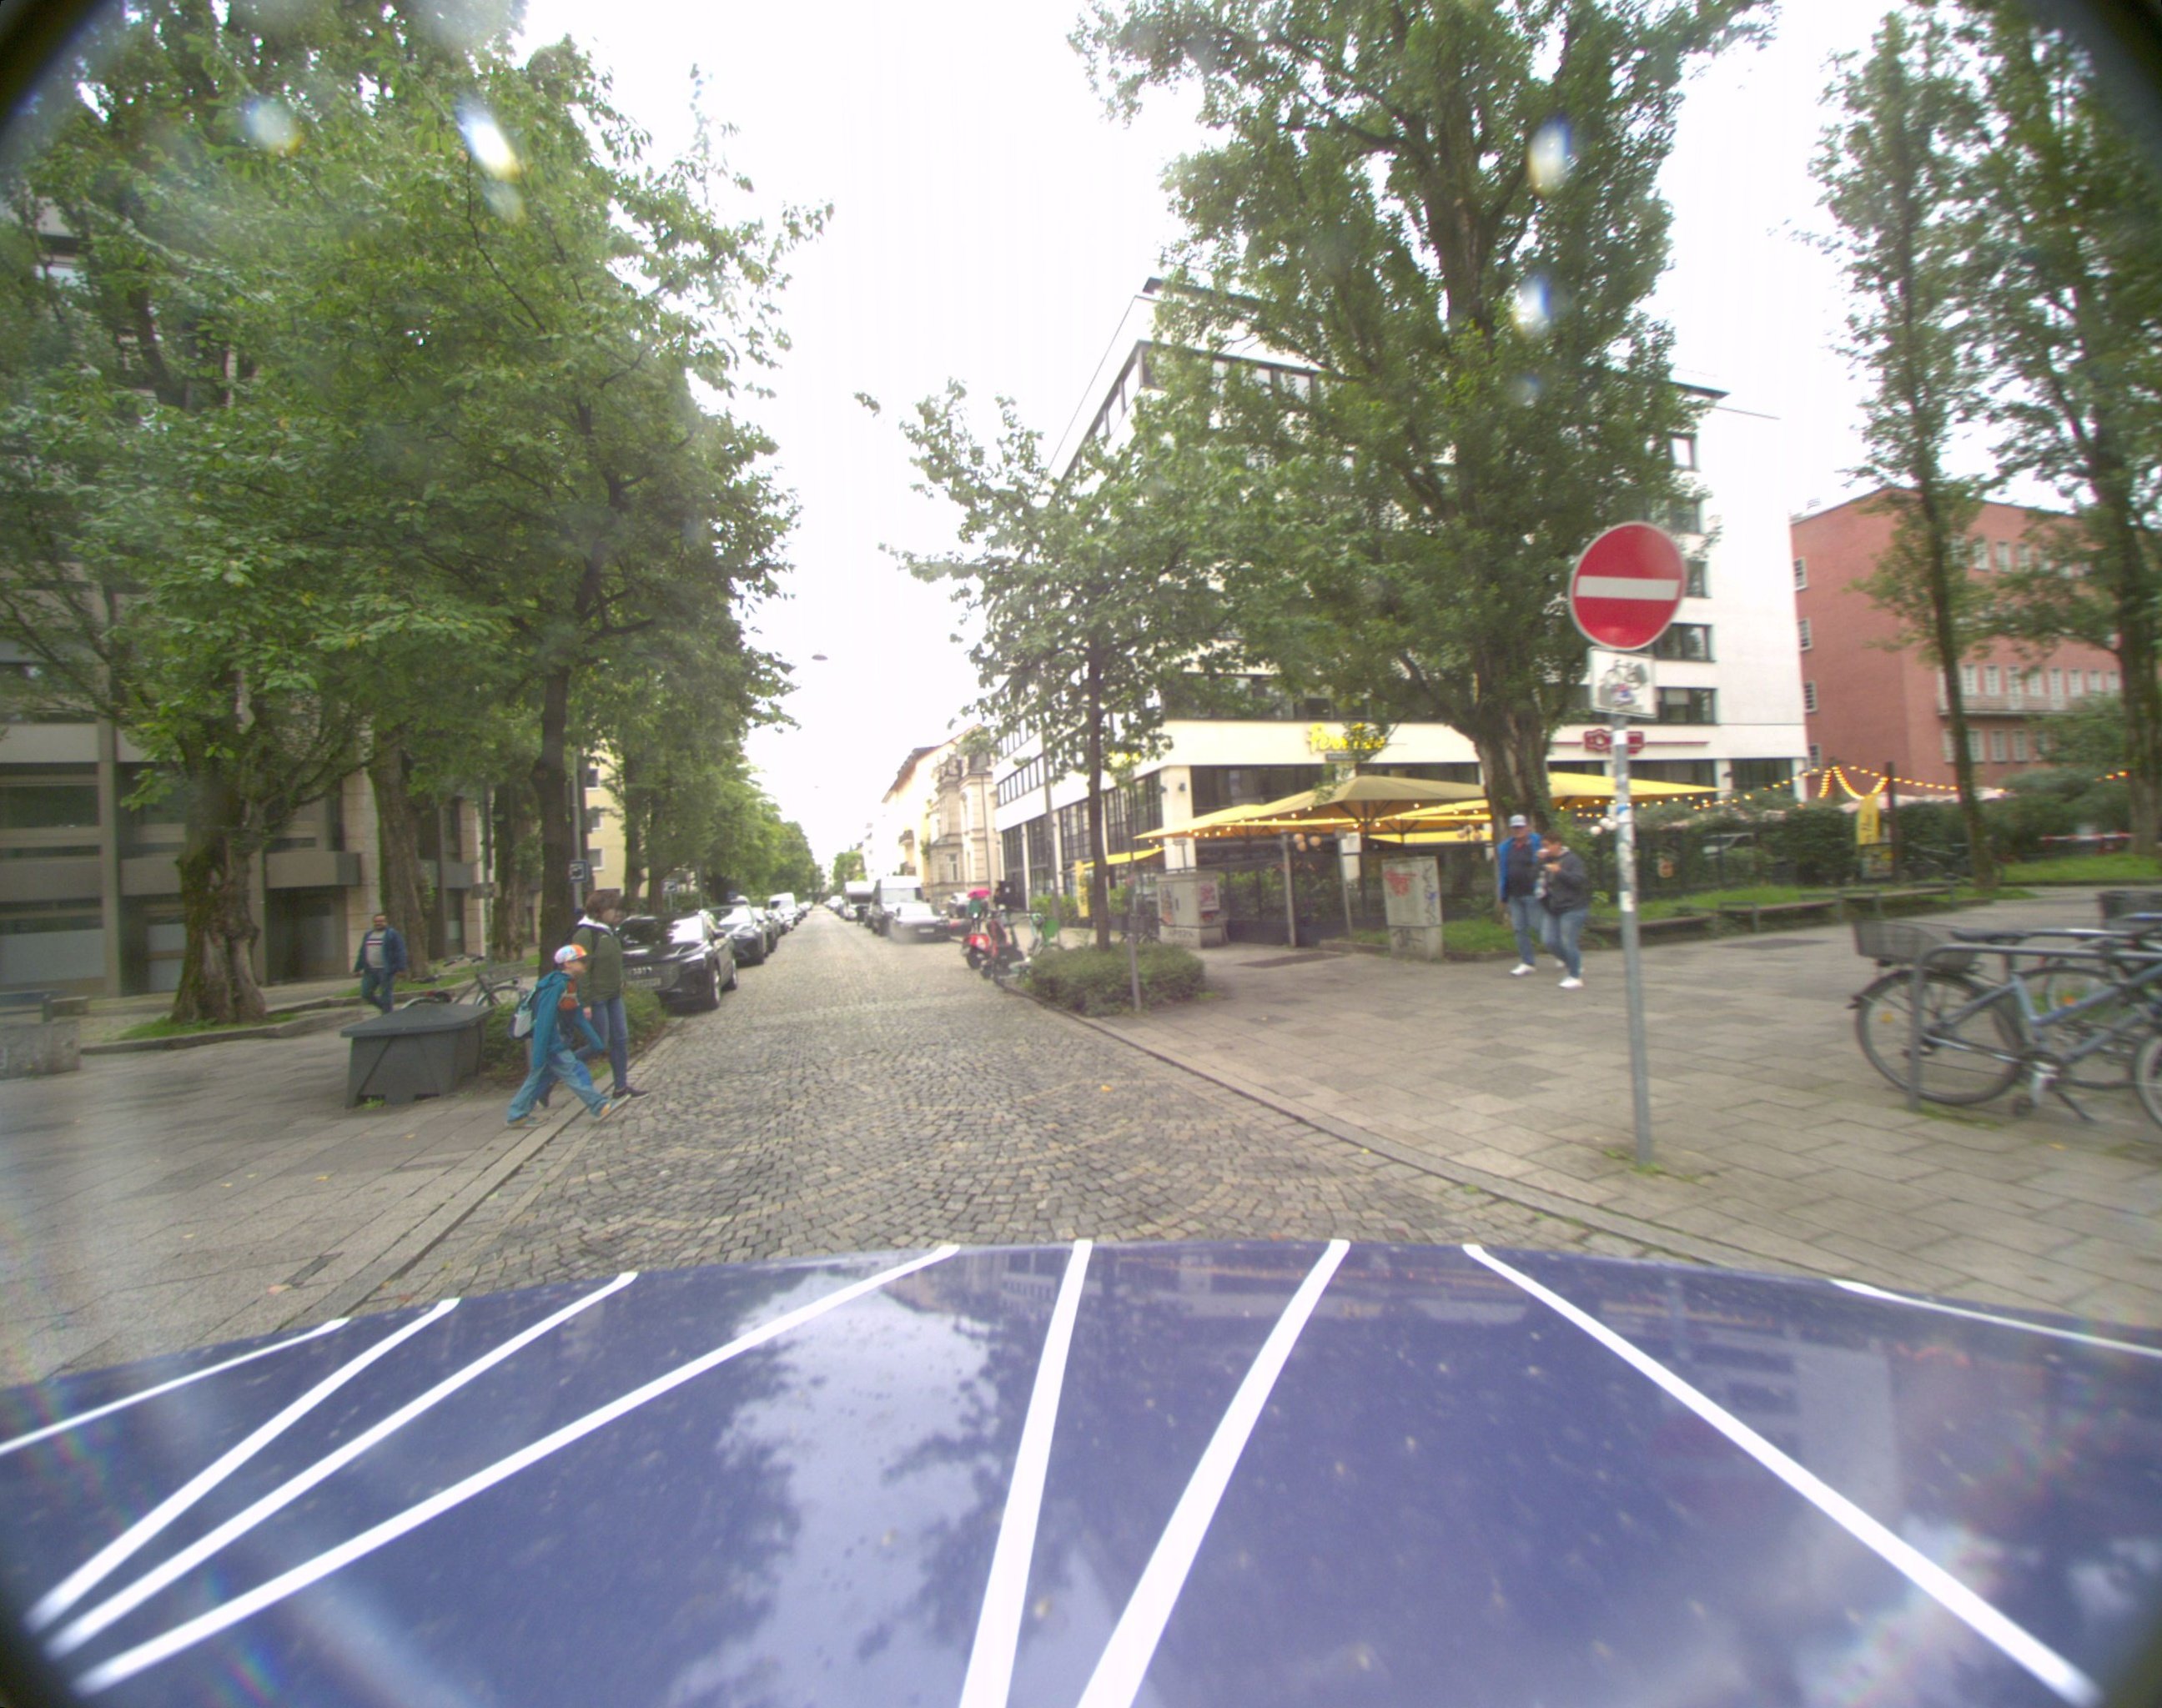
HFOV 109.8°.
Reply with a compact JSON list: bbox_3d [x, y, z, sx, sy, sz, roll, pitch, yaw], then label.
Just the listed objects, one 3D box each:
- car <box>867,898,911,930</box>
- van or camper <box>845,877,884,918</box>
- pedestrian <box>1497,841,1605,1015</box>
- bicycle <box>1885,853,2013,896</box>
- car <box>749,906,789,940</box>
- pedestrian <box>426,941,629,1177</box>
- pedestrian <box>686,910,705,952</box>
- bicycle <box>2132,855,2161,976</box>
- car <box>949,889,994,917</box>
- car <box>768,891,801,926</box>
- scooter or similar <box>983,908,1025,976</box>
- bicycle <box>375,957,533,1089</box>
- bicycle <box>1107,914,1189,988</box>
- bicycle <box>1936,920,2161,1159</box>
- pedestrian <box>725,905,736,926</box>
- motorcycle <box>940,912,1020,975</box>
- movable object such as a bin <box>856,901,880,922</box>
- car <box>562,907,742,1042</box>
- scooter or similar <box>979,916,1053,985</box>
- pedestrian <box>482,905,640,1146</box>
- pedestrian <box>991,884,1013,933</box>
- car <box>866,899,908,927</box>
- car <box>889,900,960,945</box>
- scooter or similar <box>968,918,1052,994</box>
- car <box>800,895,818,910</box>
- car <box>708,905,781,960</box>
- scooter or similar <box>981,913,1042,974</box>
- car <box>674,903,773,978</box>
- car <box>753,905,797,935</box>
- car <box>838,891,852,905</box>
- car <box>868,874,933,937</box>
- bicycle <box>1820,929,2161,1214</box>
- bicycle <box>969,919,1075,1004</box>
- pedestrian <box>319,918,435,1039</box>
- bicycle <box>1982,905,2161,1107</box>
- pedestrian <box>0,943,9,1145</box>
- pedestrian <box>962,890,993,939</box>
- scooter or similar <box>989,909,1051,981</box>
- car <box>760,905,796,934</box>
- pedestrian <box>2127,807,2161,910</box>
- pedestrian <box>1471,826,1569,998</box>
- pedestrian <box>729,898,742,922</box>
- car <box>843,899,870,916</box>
[{"bbox_3d":[-10.145,3.103,39.976,2.001,1.421,3.996,-3,-2,-16],"label":"car"},{"bbox_3d":[-17.927,3.539,62.613,2.467,3.028,7.309,-3,-2,-20],"label":"van or camper"},{"bbox_3d":[4.944,0.749,8.001,0.646,1.717,0.702,-3,-2,-42],"label":"pedestrian"},{"bbox_3d":[20.056,0.502,17.611,0.621,0.907,1.800,-3,-2,-20],"label":"bicycle"},{"bbox_3d":[-16.042,3.509,39.187,1.607,1.422,3.558,-5,-1,-19],"label":"car"},{"bbox_3d":[-3.840,1.374,5.348,0.770,1.410,0.818,-4,-1,-3],"label":"pedestrian"},{"bbox_3d":[-15.579,3.109,30.722,0.490,1.618,0.567,-4,-1,-15],"label":"pedestrian"},{"bbox_3d":[11.530,0.574,7.651,1.617,1.181,0.583,-3,-1,-18],"label":"bicycle"},{"bbox_3d":[-7.047,3.104,48.477,1.915,1.523,4.164,-3,-2,-20],"label":"car"},{"bbox_3d":[-22.862,4.160,58.803,2.091,2.418,5.604,-5,-1,-20],"label":"car"},{"bbox_3d":[-1.565,1.783,15.640,0.327,1.265,1.360,-4,-3,16],"label":"scooter or similar"},{"bbox_3d":[-7.072,1.850,8.689,0.476,1.129,1.875,-3,-2,-9],"label":"bicycle"},{"bbox_3d":[1.024,1.499,12.095,0.554,1.016,1.761,-3,-2,-20],"label":"bicycle"},{"bbox_3d":[5.424,0.908,3.626,0.492,1.086,1.702,-3,-2,-13],"label":"bicycle"},{"bbox_3d":[-26.576,4.638,57.599,0.546,1.520,0.529,-3,-2,-42],"label":"pedestrian"},{"bbox_3d":[-2.148,1.899,16.426,0.769,1.188,1.995,-3,-3,23],"label":"motorcycle"},{"bbox_3d":[-13.783,3.716,49.146,1.256,1.290,1.172,-3,-2,-23],"label":"movable object such as a bin"},{"bbox_3d":[-7.076,1.854,13.015,1.928,1.690,4.196,-4,-2,-20],"label":"car"},{"bbox_3d":[-1.208,1.772,14.045,1.252,1.137,0.327,-3,-1,-18],"label":"scooter or similar"},{"bbox_3d":[-4.001,1.273,5.896,0.690,1.690,0.664,-4,-1,-2],"label":"pedestrian"},{"bbox_3d":[-2.884,1.969,27.677,0.576,1.737,0.650,-3,-1,-19],"label":"pedestrian"},{"bbox_3d":[-11.376,3.419,44.433,2.001,1.380,3.995,-3,-2,-19],"label":"car"},{"bbox_3d":[-5.705,2.401,27.362,2.001,1.322,4.112,-3,-2,-18],"label":"car"},{"bbox_3d":[-1.212,1.722,13.071,1.433,1.137,0.369,-2,-2,-42],"label":"scooter or similar"},{"bbox_3d":[-34.208,6.133,95.536,2.002,1.679,3.868,-5,-1,-21],"label":"car"},{"bbox_3d":[-11.872,2.720,27.078,2.001,1.573,4.337,-4,-2,-20],"label":"car"},{"bbox_3d":[-1.417,1.803,15.372,1.248,1.172,0.391,-5,-2,40],"label":"scooter or similar"},{"bbox_3d":[-10.004,2.332,21.593,2.021,1.690,4.667,-4,-2,-20],"label":"car"},{"bbox_3d":[-17.200,3.676,42.873,2.001,1.379,3.869,-5,-1,-19],"label":"car"},{"bbox_3d":[-44.308,8.211,142.687,2.091,2.417,5.604,-3,-2,-20],"label":"car"},{"bbox_3d":[-8.199,2.256,34.076,2.068,2.475,5.841,-2,-2,-20],"label":"car"},{"bbox_3d":[4.636,0.954,3.509,0.492,1.086,1.702,-3,-2,-13],"label":"bicycle"},{"bbox_3d":[-0.926,1.703,12.368,0.552,1.136,1.766,-5,-2,41],"label":"bicycle"},{"bbox_3d":[-10.839,1.886,11.734,0.868,1.703,0.912,-4,-1,1],"label":"pedestrian"},{"bbox_3d":[6.356,0.853,4.021,0.492,1.086,1.982,-3,-2,-13],"label":"bicycle"},{"bbox_3d":[-9.486,1.628,6.207,0.668,1.713,0.714,-5,-2,44],"label":"pedestrian"},{"bbox_3d":[-3.825,2.223,28.043,0.930,1.695,0.799,-3,-1,-16],"label":"pedestrian"},{"bbox_3d":[-1.171,1.753,14.820,0.327,1.265,1.253,-5,-2,41],"label":"scooter or similar"},{"bbox_3d":[-18.652,3.981,46.889,1.870,1.490,3.868,-5,-1,-21],"label":"car"},{"bbox_3d":[17.904,0.055,12.381,0.647,1.682,0.735,-4,-1,-14],"label":"pedestrian"},{"bbox_3d":[5.093,0.652,8.827,0.646,1.896,0.702,-3,-2,-42],"label":"pedestrian"},{"bbox_3d":[-22.930,3.681,50.428,0.646,1.528,0.708,-3,-1,-22],"label":"pedestrian"},{"bbox_3d":[-21.517,5.070,72.749,2.002,1.379,3.868,-5,-1,-21],"label":"car"}]
